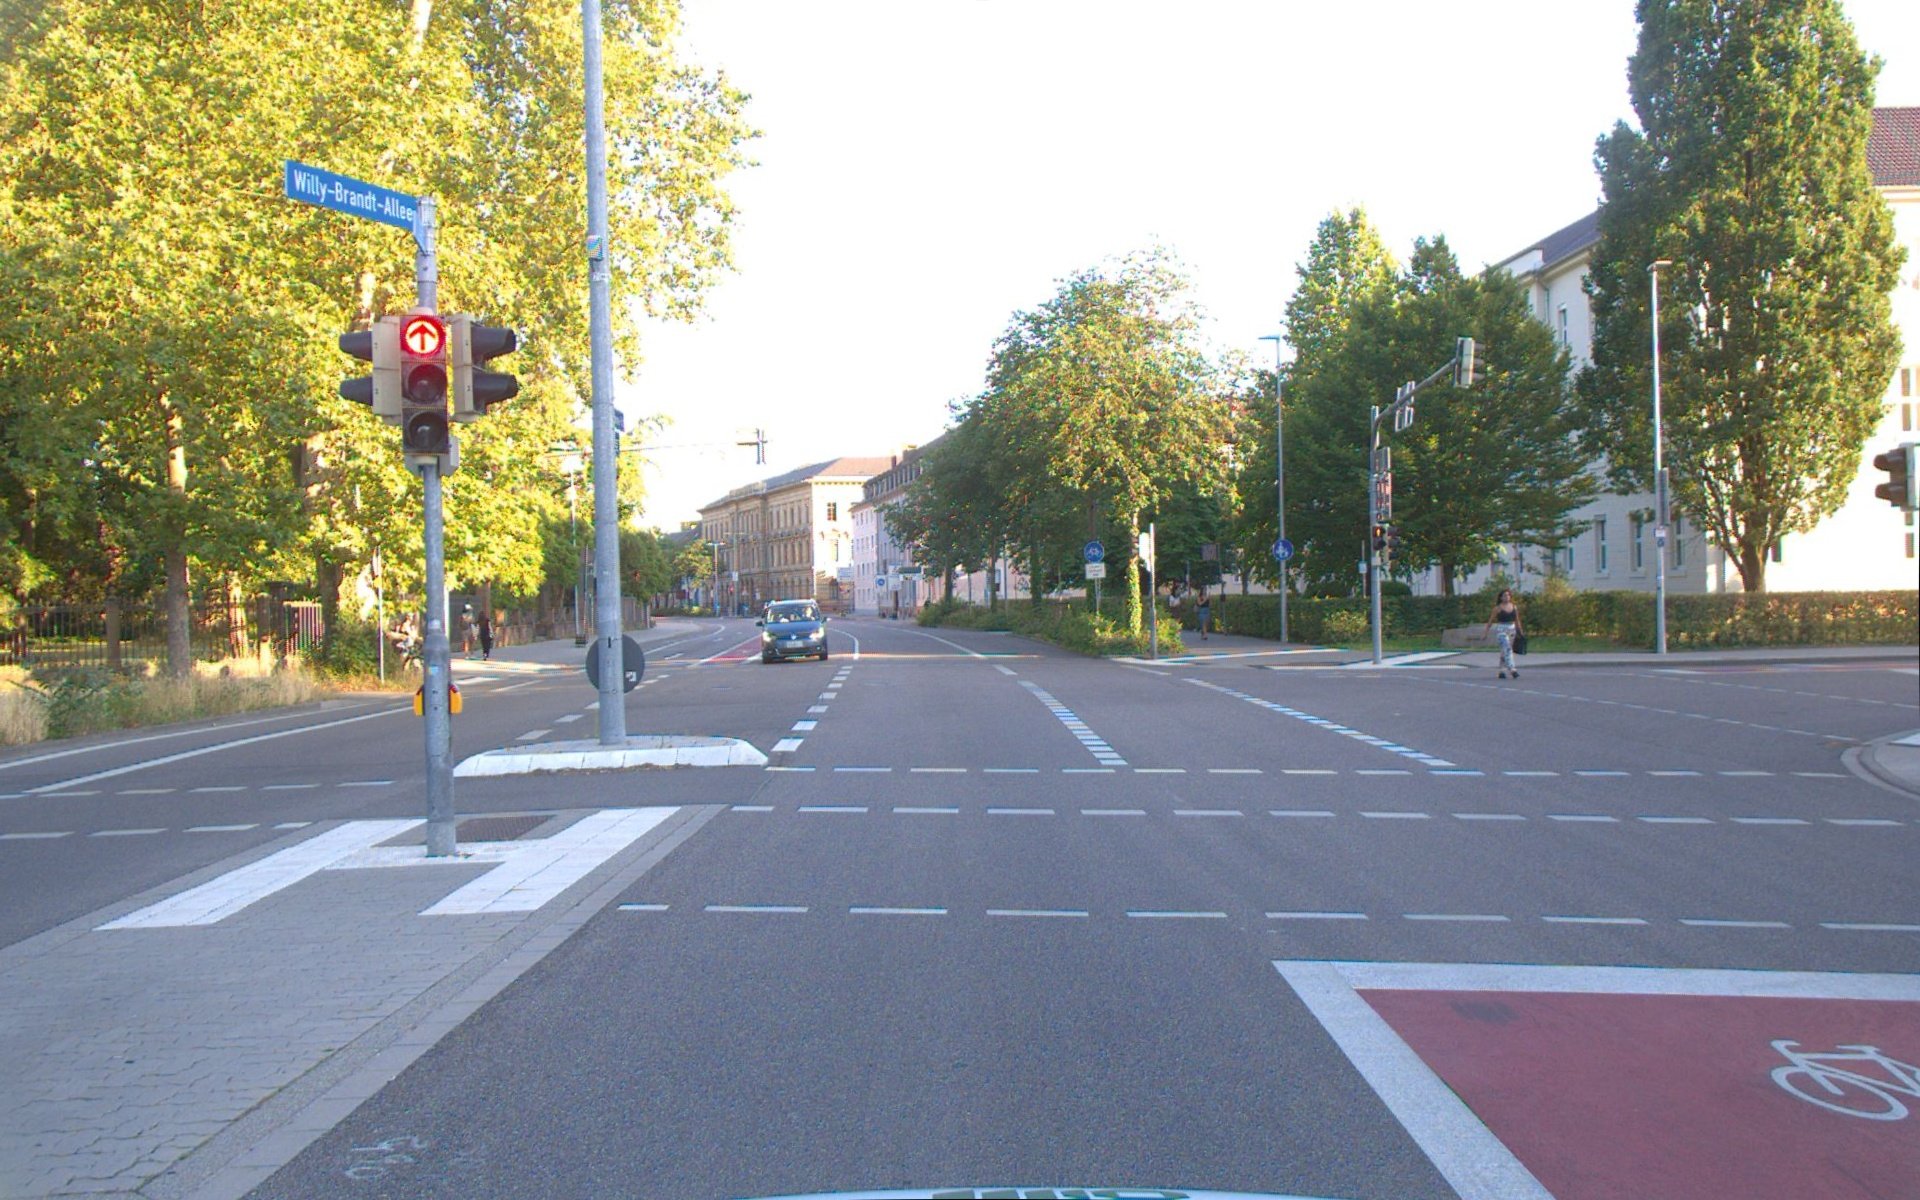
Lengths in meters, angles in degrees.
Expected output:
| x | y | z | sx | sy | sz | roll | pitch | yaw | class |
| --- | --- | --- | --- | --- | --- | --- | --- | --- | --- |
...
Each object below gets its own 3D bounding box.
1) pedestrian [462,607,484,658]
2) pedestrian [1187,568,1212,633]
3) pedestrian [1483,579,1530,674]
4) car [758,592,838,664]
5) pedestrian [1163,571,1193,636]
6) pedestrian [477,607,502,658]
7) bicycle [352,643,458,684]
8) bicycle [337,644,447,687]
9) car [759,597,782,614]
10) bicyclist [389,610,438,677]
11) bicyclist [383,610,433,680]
| x | y | z | sx | sy | sz | roll | pitch | yaw | class |
| --- | --- | --- | --- | --- | --- | --- | --- | --- | --- |
| -15.672 | 1.035 | 53.230 | 0.524 | 1.624 | 0.590 | -1 | 0 | -1 | pedestrian |
| 7.633 | 0.010 | 52.701 | 0.622 | 2.049 | 0.720 | 0 | 0 | -5 | pedestrian |
| 9.707 | 0.455 | 29.393 | 0.587 | 1.664 | 0.691 | 0 | 0 | -1 | pedestrian |
| -4.368 | 0.728 | 45.162 | 1.812 | 1.750 | 4.294 | -3 | 0 | -2 | car |
| 6.924 | 0.106 | 52.553 | 0.852 | 2.049 | 0.722 | 0 | 0 | -1 | pedestrian |
| -15.068 | 1.037 | 52.964 | 0.587 | 1.601 | 0.646 | -1 | 0 | -1 | pedestrian |
| -14.004 | 1.591 | 41.773 | 2.380 | 0.940 | 0.775 | -1 | 0 | 0 | bicycle |
| -13.773 | 1.590 | 40.137 | 2.380 | 0.940 | 0.775 | -1 | 0 | 0 | bicycle |
| -19.398 | 0.579 | 169.431 | 1.789 | 1.616 | 3.984 | -2 | 0 | -15 | car |
| -13.800 | 1.087 | 41.795 | 0.938 | 1.659 | 0.752 | -1 | 0 | 0 | bicyclist |
| -13.379 | 1.083 | 40.109 | 0.938 | 1.659 | 0.752 | -1 | 0 | 0 | bicyclist |
